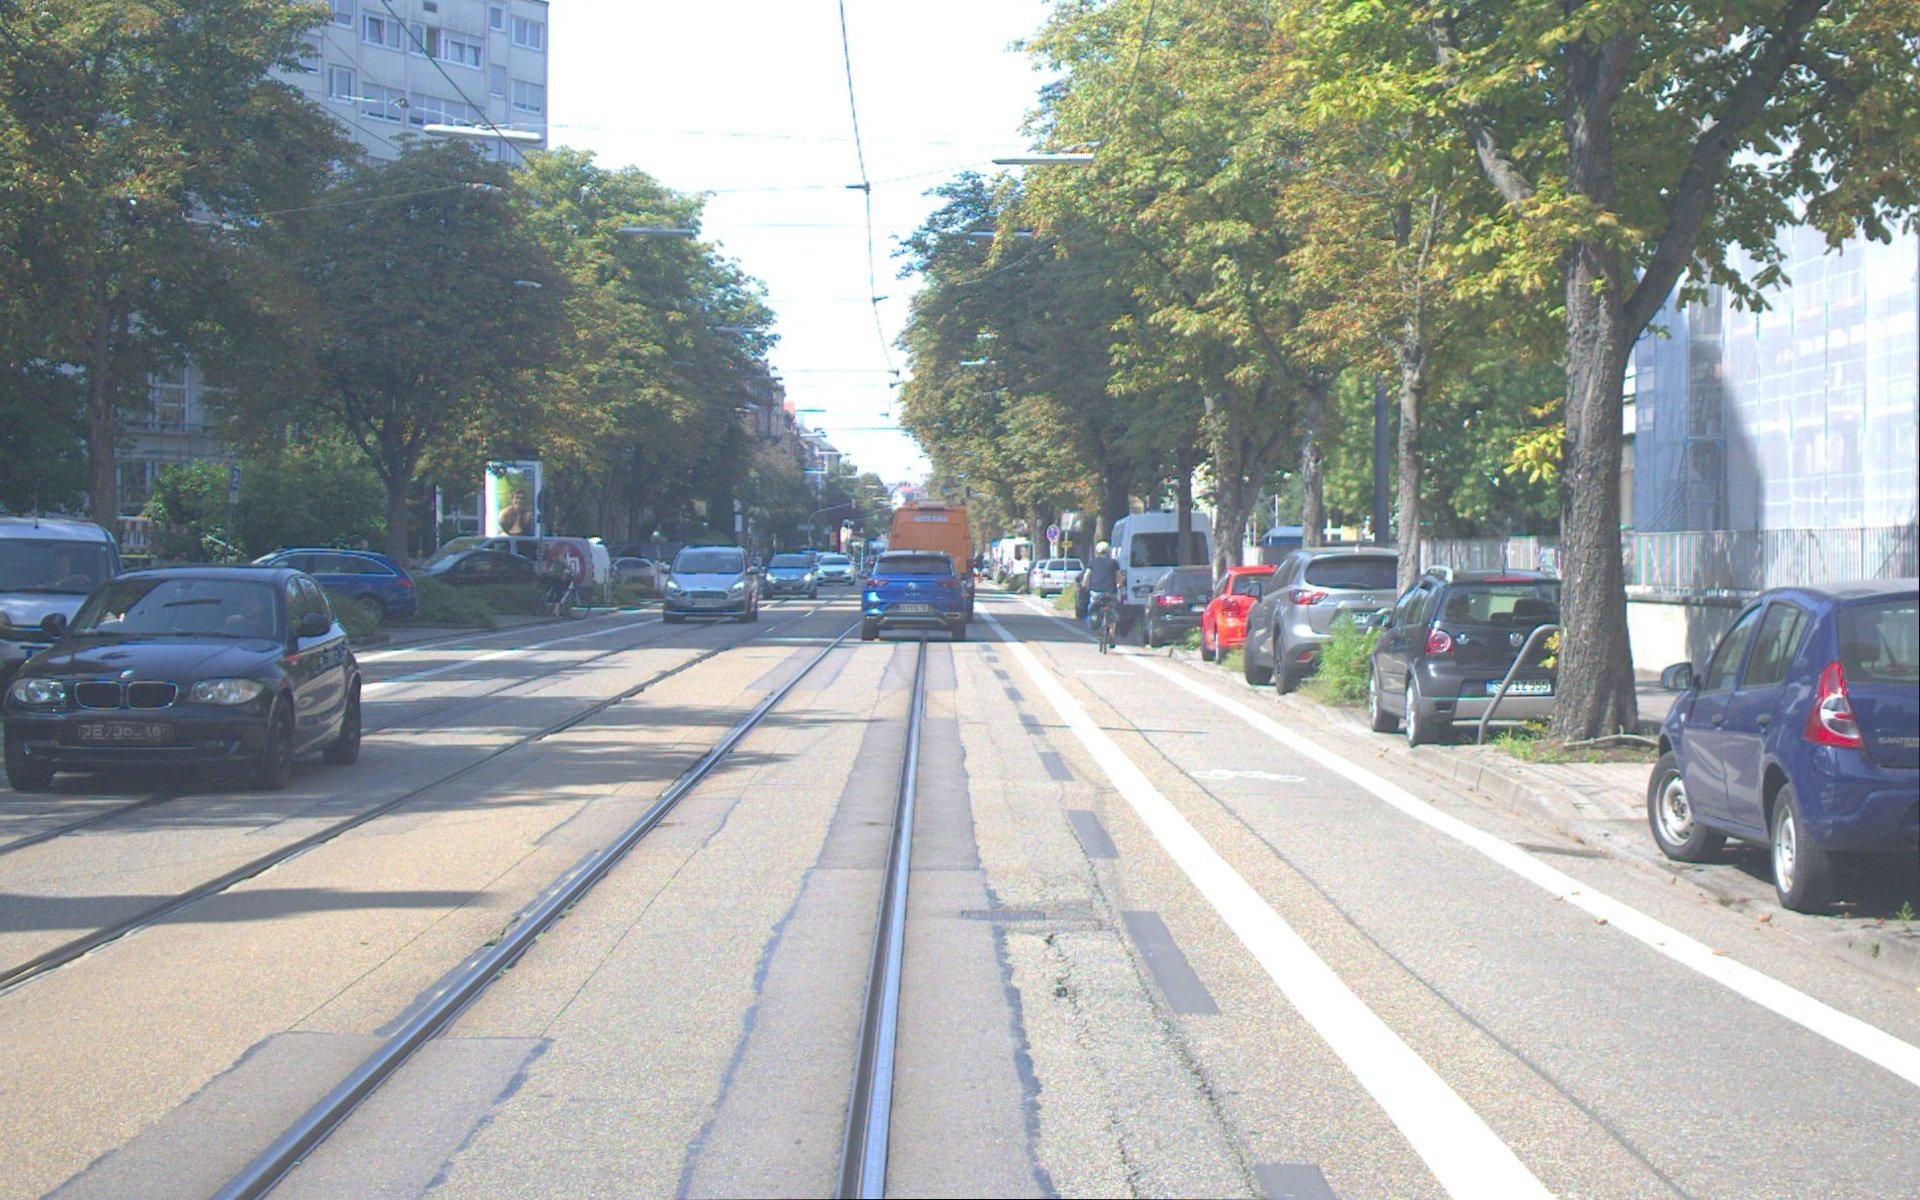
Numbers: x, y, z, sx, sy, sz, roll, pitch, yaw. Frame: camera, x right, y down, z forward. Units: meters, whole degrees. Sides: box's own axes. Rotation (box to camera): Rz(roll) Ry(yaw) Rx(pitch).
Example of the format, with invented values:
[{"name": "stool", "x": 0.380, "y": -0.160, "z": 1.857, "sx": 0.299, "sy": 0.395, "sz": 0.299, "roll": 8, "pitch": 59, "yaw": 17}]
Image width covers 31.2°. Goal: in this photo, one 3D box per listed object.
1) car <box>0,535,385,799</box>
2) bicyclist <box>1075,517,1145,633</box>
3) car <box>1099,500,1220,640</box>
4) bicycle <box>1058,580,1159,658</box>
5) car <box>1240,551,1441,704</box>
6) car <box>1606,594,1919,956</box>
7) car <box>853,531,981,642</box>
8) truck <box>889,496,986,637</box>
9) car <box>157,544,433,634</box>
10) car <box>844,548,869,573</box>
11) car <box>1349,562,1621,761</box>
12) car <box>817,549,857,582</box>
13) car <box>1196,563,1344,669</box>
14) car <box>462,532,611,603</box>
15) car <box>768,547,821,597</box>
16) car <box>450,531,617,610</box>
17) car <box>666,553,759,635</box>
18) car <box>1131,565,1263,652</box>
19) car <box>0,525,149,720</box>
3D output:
[{"name": "car", "x": -5.041, "y": 0.369, "z": 22.875, "sx": 1.681, "sy": 1.566, "sz": 4.206, "roll": 1, "pitch": 1, "yaw": 0}, {"name": "bicyclist", "x": 2.368, "y": -0.399, "z": 54.402, "sx": 1.031, "sy": 1.806, "sz": 1.016, "roll": 1, "pitch": 1, "yaw": 0}, {"name": "car", "x": 4.099, "y": -0.642, "z": 71.453, "sx": 1.993, "sy": 2.746, "sz": 5.762, "roll": 1, "pitch": 1, "yaw": -1}, {"name": "bicycle", "x": 2.322, "y": 0.279, "z": 54.430, "sx": 1.401, "sy": 1.130, "sz": 4.000, "roll": 1, "pitch": 1, "yaw": 0}, {"name": "car", "x": 4.402, "y": 0.274, "z": 40.346, "sx": 1.740, "sy": 1.662, "sz": 4.362, "roll": 1, "pitch": 1, "yaw": -1}, {"name": "car", "x": 4.486, "y": 0.763, "z": 17.156, "sx": 1.743, "sy": 1.550, "sz": 4.217, "roll": 0, "pitch": 1, "yaw": 0}, {"name": "car", "x": -0.725, "y": -0.270, "z": 60.098, "sx": 2.135, "sy": 1.852, "sz": 5.568, "roll": 0, "pitch": 1, "yaw": 0}, {"name": "truck", "x": -0.501, "y": -0.793, "z": 78.968, "sx": 2.135, "sy": 3.113, "sz": 6.085, "roll": 0, "pitch": 1, "yaw": 0}, {"name": "car", "x": -12.056, "y": -0.201, "z": 62.305, "sx": 4.568, "sy": 1.547, "sz": 2.001, "roll": 1, "pitch": 1, "yaw": -24}, {"name": "car", "x": -7.672, "y": -2.917, "z": 254.665, "sx": 1.747, "sy": 1.790, "sz": 4.000, "roll": 1, "pitch": 1, "yaw": -1}, {"name": "car", "x": 4.540, "y": 0.479, "z": 30.252, "sx": 1.633, "sy": 1.579, "sz": 4.189, "roll": 1, "pitch": 1, "yaw": -1}, {"name": "car", "x": -5.974, "y": -1.686, "z": 167.096, "sx": 1.898, "sy": 1.556, "sz": 4.123, "roll": 1, "pitch": 1, "yaw": -2}, {"name": "car", "x": 4.531, "y": 0.214, "z": 50.728, "sx": 1.740, "sy": 1.457, "sz": 3.684, "roll": 1, "pitch": 1, "yaw": -1}, {"name": "car", "x": -12.408, "y": -0.954, "z": 100.785, "sx": 3.989, "sy": 2.007, "sz": 1.856, "roll": 0, "pitch": 1, "yaw": -43}, {"name": "car", "x": -5.440, "y": -0.930, "z": 113.306, "sx": 1.633, "sy": 1.579, "sz": 4.189, "roll": 1, "pitch": 1, "yaw": -1}, {"name": "car", "x": -11.157, "y": -0.762, "z": 90.112, "sx": 3.989, "sy": 2.007, "sz": 1.856, "roll": 0, "pitch": 1, "yaw": -43}, {"name": "car", "x": -5.333, "y": -0.157, "z": 74.552, "sx": 1.780, "sy": 1.678, "sz": 4.347, "roll": 1, "pitch": 1, "yaw": -1}, {"name": "car", "x": 4.156, "y": 0.122, "z": 60.868, "sx": 1.908, "sy": 1.427, "sz": 4.293, "roll": 1, "pitch": 1, "yaw": -1}, {"name": "car", "x": -9.505, "y": 0.168, "z": 33.555, "sx": 1.747, "sy": 1.790, "sz": 4.000, "roll": 1, "pitch": 1, "yaw": -34}]
